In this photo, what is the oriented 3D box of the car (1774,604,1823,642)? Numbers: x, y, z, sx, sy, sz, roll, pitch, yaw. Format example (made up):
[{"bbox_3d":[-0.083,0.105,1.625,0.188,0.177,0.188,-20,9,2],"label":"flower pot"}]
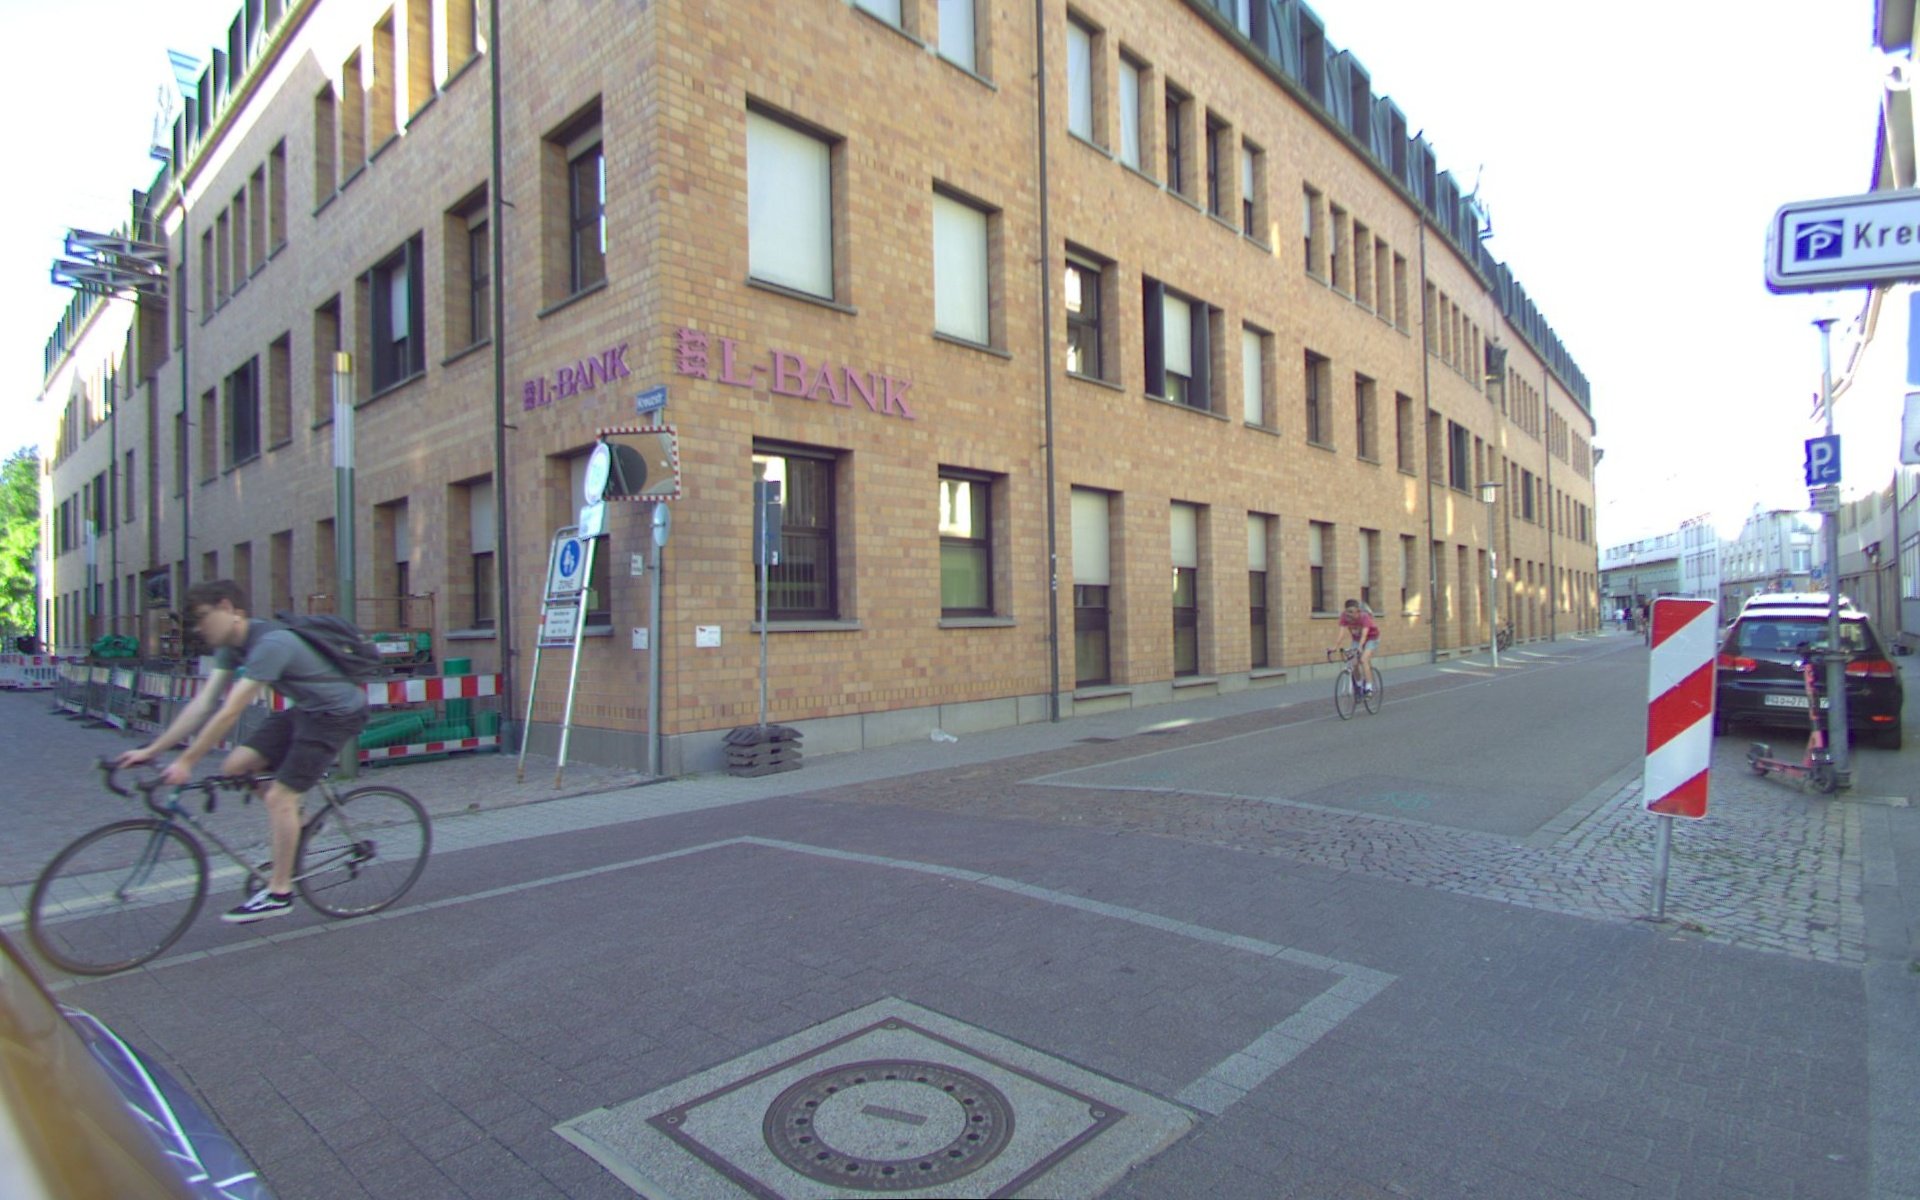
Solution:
[{"bbox_3d":[38.970,1.023,47.097,1.692,1.692,3.461,0,0,39],"label":"car"}]

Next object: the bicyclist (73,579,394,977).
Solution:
[{"bbox_3d":[-3.303,0.712,4.634,0.650,1.570,1.094,-3,-2,44],"label":"bicyclist"}]

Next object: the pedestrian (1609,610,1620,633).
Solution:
[{"bbox_3d":[44.695,1.482,69.096,0.543,1.556,0.399,-1,-1,40],"label":"pedestrian"}]

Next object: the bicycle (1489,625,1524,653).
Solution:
[{"bbox_3d":[18.830,1.331,34.837,0.642,0.888,2.524,-1,-1,38],"label":"bicycle"}]

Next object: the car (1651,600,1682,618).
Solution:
[{"bbox_3d":[68.271,0.870,97.815,1.926,1.663,3.801,-1,-1,27],"label":"car"}]

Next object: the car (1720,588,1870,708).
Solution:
[{"bbox_3d":[13.357,0.682,16.168,1.673,1.674,4.025,0,0,41],"label":"car"}]

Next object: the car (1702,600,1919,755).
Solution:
[{"bbox_3d":[10.003,0.760,11.926,1.740,1.497,3.759,0,1,41],"label":"car"}]

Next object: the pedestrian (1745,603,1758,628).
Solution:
[{"bbox_3d":[48.491,0.957,61.999,0.570,1.490,0.468,-2,-2,34],"label":"pedestrian"}]

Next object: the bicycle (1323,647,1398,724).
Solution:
[{"bbox_3d":[5.608,1.172,14.145,0.436,0.964,1.569,-3,-2,42],"label":"bicycle"}]

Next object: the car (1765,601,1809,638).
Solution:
[{"bbox_3d":[42.265,0.964,51.775,1.692,1.789,3.608,0,0,39],"label":"car"}]

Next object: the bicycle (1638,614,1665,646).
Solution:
[{"bbox_3d":[25.588,1.111,37.433,0.703,1.112,1.806,-6,-4,34],"label":"bicycle"}]

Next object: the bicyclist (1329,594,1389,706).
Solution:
[{"bbox_3d":[5.578,0.690,14.154,0.428,1.509,0.863,-5,-4,42],"label":"bicyclist"}]

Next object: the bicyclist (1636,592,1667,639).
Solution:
[{"bbox_3d":[25.578,0.591,37.452,0.771,1.668,0.946,-5,-4,32],"label":"bicyclist"}]

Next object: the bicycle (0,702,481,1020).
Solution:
[{"bbox_3d":[-3.254,1.073,4.628,0.574,1.059,1.810,-8,-5,43],"label":"bicycle"}]

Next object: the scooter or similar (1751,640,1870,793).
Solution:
[{"bbox_3d":[7.085,0.936,8.462,0.205,1.193,0.882,-1,-2,1],"label":"scooter or similar"}]

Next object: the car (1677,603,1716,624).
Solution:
[{"bbox_3d":[60.581,1.086,83.285,1.926,1.663,3.801,-2,-1,27],"label":"car"}]

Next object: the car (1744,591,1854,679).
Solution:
[{"bbox_3d":[17.973,0.690,21.652,1.673,1.717,3.958,0,0,41],"label":"car"}]
